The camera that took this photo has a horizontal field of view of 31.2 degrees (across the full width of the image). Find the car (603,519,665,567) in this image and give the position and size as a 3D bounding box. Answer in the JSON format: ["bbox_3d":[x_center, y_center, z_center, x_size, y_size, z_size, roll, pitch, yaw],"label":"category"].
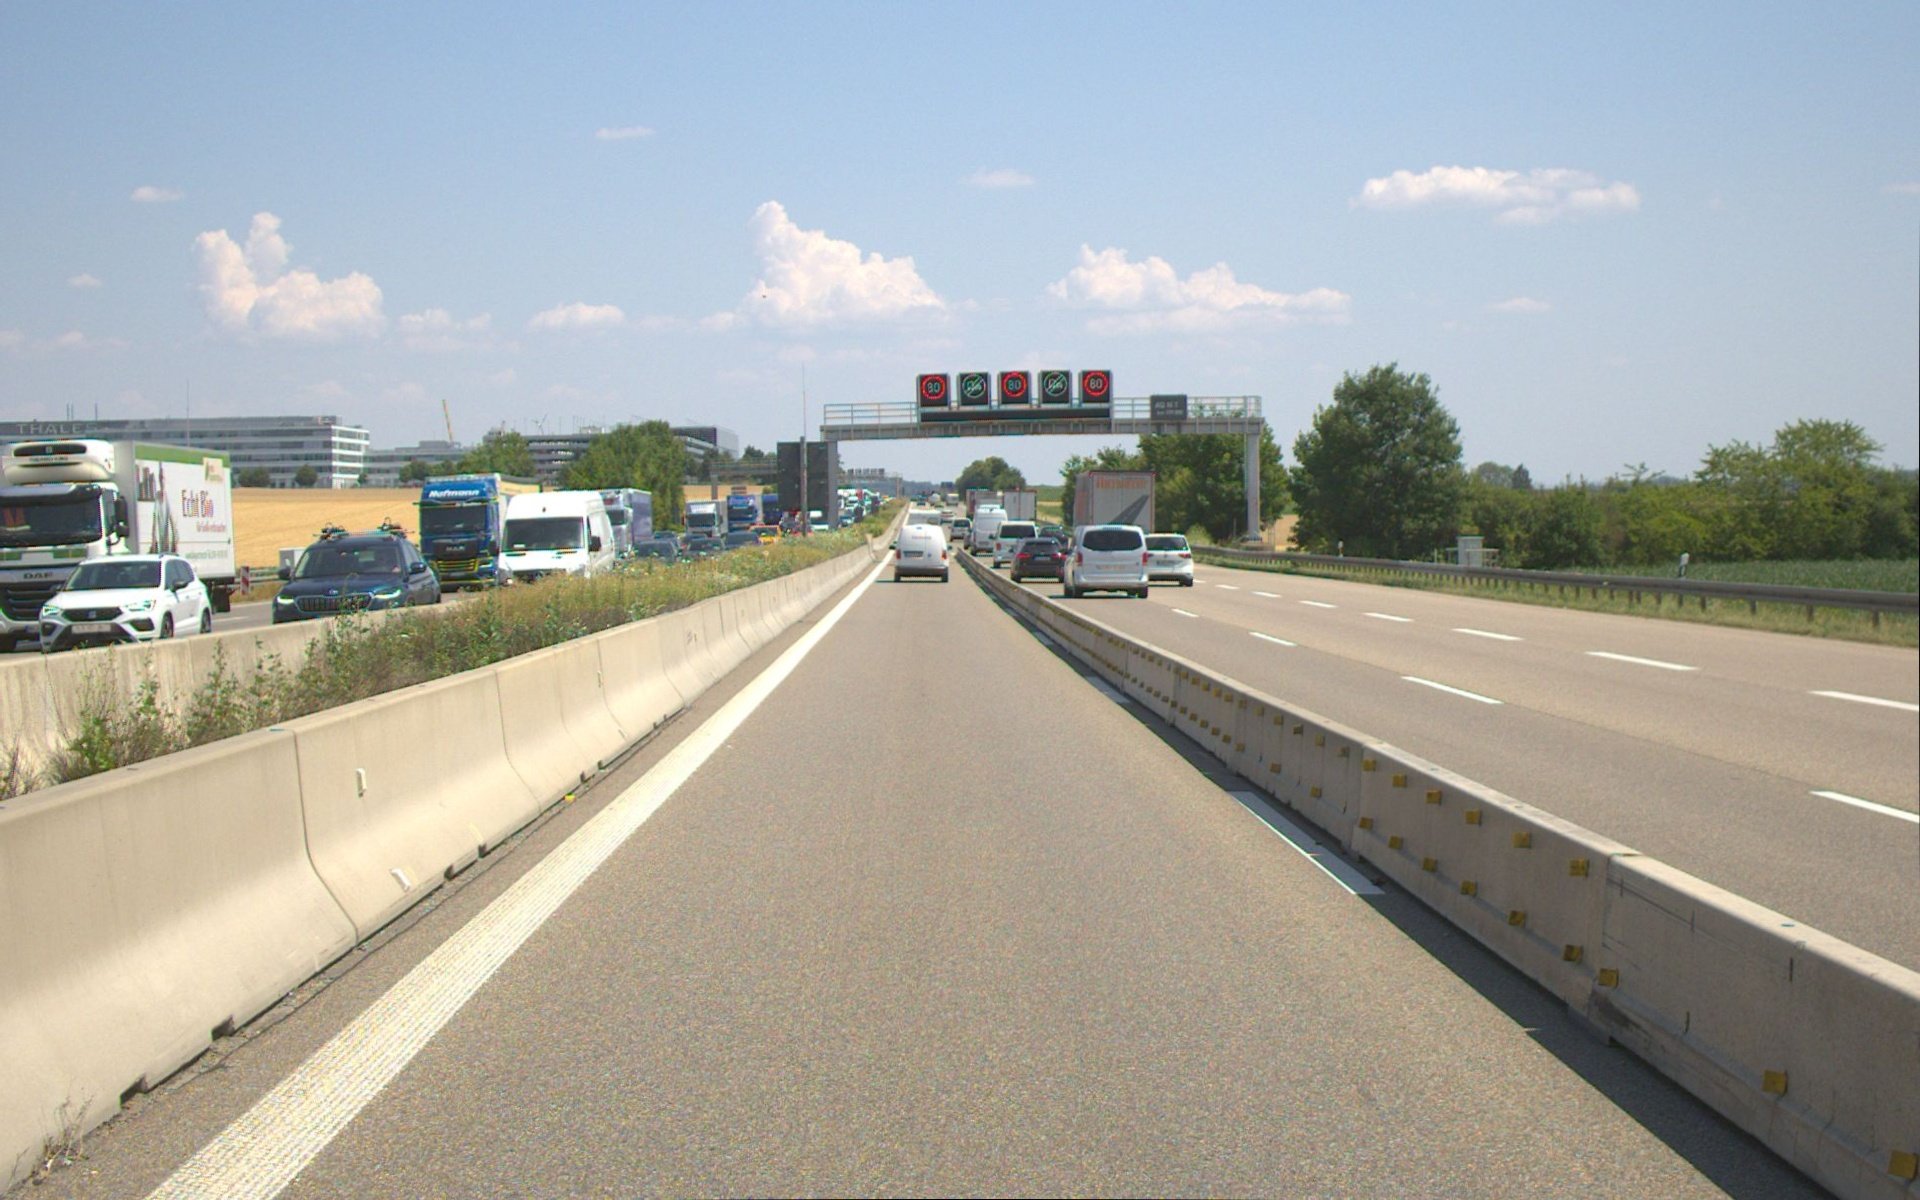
[{"bbox_3d":[-10.363,-1.830,109.524,1.597,1.464,4.534,-1,1,-1],"label":"car"}]

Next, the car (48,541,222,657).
[{"bbox_3d":[-12.328,-0.055,51.569,1.559,1.616,4.045,-1,1,1],"label":"car"}]

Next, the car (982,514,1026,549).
[{"bbox_3d":[1.856,-2.912,145.941,1.773,1.442,4.000,0,1,-1],"label":"car"}]

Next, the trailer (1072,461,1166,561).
[{"bbox_3d":[6.425,-3.559,139.970,3.277,3.953,9.113,0,1,-1],"label":"trailer"}]

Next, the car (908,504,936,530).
[{"bbox_3d":[-2.770,-5.998,248.559,1.993,1.829,4.000,0,1,-1],"label":"car"}]

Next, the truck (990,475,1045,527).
[{"bbox_3d":[4.408,-7.629,265.060,3.815,3.891,9.581,-1,1,-1],"label":"truck"}]

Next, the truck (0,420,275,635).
[{"bbox_3d":[-15.907,-1.369,65.862,2.795,3.597,13.289,-3,1,0],"label":"truck"}]

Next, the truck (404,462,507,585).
[{"bbox_3d":[-17.326,-2.641,118.276,2.809,4.114,4.842,-1,1,-1],"label":"truck"}]

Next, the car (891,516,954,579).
[{"bbox_3d":[-1.218,-1.678,110.926,1.993,2.007,4.000,0,1,-1],"label":"car"}]

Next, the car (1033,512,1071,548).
[{"bbox_3d":[5.244,-3.977,195.604,1.993,2.007,4.000,0,1,-1],"label":"car"}]

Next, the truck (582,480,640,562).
[{"bbox_3d":[-17.658,-3.991,173.967,2.411,4.072,4.660,-1,1,0],"label":"truck"}]

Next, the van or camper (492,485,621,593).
[{"bbox_3d":[-8.698,-1.345,74.681,2.035,2.214,7.209,1,1,-1],"label":"van or camper"}]

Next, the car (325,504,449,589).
[{"bbox_3d":[-12.341,-1.172,74.376,1.886,1.704,5.523,-2,1,-2],"label":"car"}]

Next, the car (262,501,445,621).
[{"bbox_3d":[-8.427,-0.568,48.105,1.782,1.584,4.541,0,1,0],"label":"car"}]

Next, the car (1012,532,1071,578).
[{"bbox_3d":[2.627,-1.459,111.418,1.773,1.442,4.000,0,1,-1],"label":"car"}]

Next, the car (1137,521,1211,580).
[{"bbox_3d":[6.597,-1.528,106.217,1.993,1.788,4.000,0,1,-1],"label":"car"}]

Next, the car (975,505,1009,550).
[{"bbox_3d":[1.722,-3.961,188.109,1.773,2.384,4.000,0,1,-1],"label":"car"}]

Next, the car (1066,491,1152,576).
[{"bbox_3d":[3.792,-1.689,88.015,1.993,2.112,4.000,0,1,-1],"label":"car"}]

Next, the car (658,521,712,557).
[{"bbox_3d":[-10.762,-2.381,134.789,1.779,1.330,4.930,1,0,-1],"label":"car"}]
